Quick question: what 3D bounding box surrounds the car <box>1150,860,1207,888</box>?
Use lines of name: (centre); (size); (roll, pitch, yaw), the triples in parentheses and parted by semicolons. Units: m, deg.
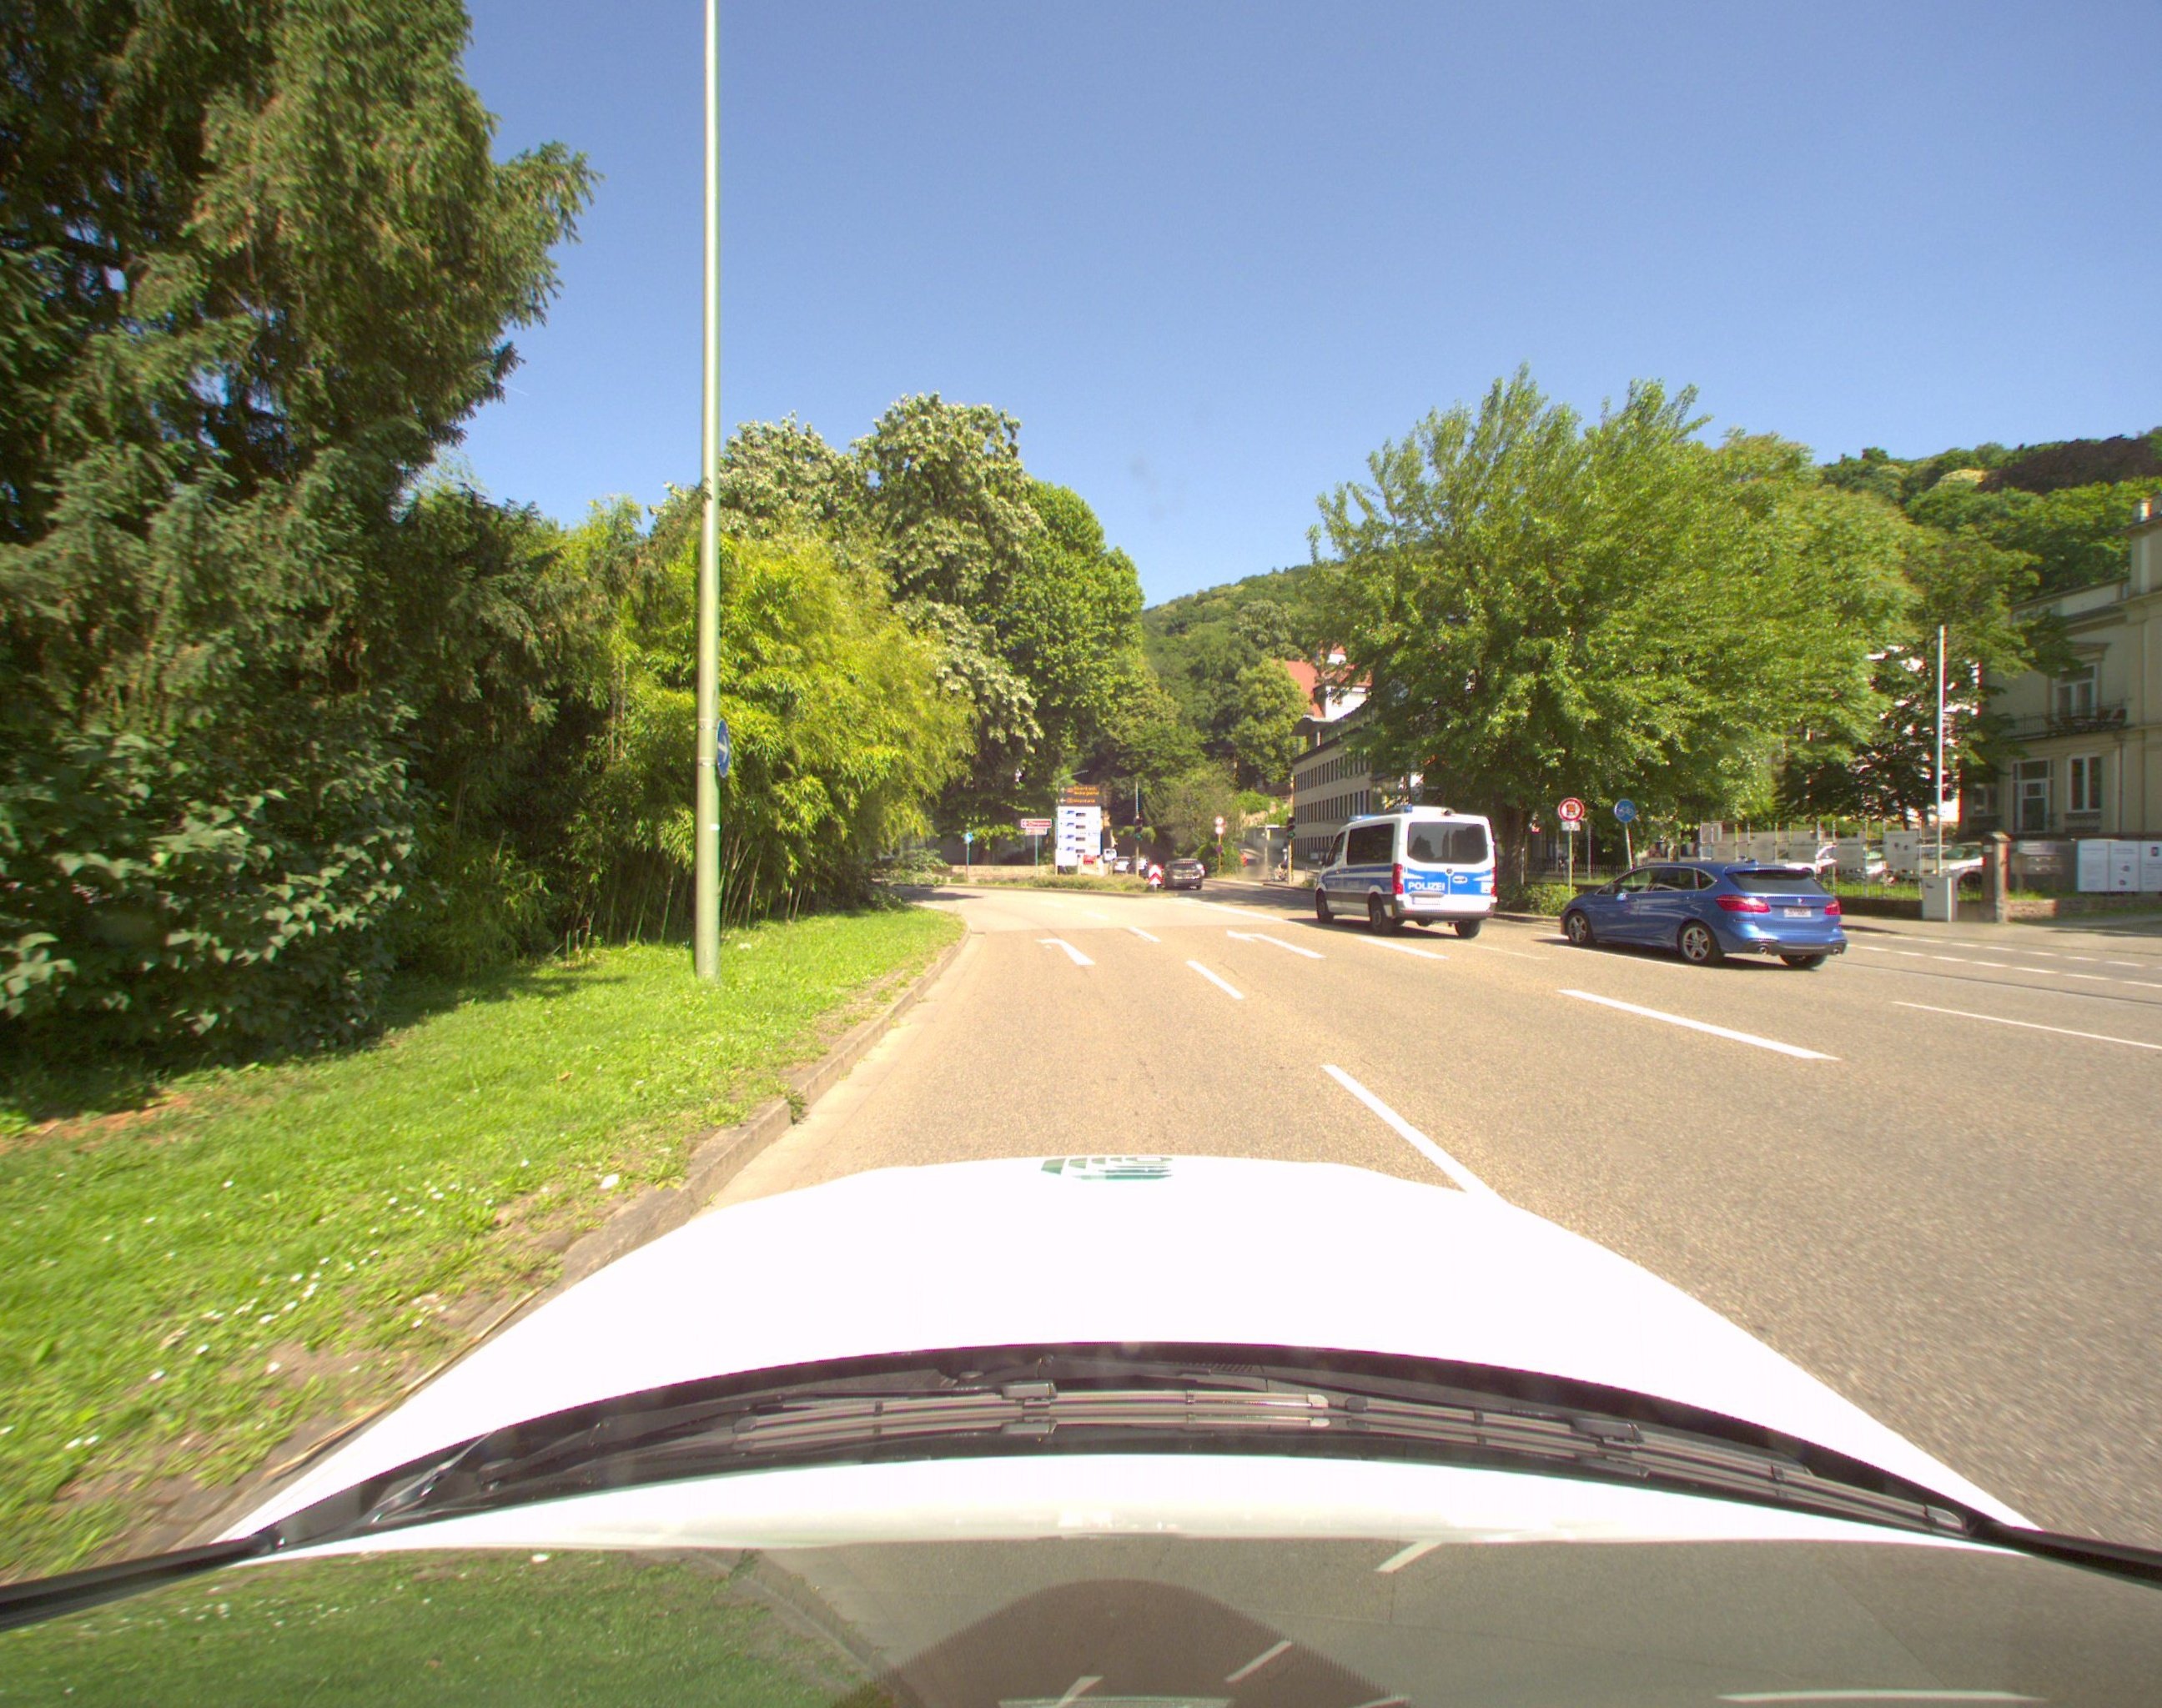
car: (4.803, 0.962, 40.654); (1.757, 1.334, 3.787); (0, 0, -11)

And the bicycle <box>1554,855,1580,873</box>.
bicycle: (29.871, 0.630, 50.074); (0.535, 1.085, 1.835); (-1, 0, 1)

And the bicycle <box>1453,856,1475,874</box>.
bicycle: (23.669, 0.690, 50.410); (0.535, 1.085, 1.835); (-1, 0, 1)

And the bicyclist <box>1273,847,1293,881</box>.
bicyclist: (11.733, 0.571, 47.379); (1.118, 1.932, 0.750); (0, -1, 12)

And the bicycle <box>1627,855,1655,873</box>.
bicycle: (34.691, 0.591, 50.479); (0.535, 1.085, 1.835); (-1, 0, 1)

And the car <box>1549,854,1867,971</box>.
car: (9.766, 0.795, 13.204); (1.715, 1.541, 4.267); (1, 0, -3)

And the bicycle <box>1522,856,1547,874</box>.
bicycle: (27.955, 0.649, 50.188); (0.535, 1.085, 1.835); (-1, 0, 1)

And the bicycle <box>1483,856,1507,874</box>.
bicycle: (25.555, 0.672, 50.305); (0.535, 1.085, 1.835); (-1, 0, 1)

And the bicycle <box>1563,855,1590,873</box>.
bicycle: (30.463, 0.625, 50.110); (0.535, 1.085, 1.835); (-1, 0, 1)

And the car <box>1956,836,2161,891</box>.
car: (25.646, 0.235, 21.088); (4.031, 1.336, 1.989); (0, 0, -3)

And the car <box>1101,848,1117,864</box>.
car: (3.511, 0.247, 102.604); (1.751, 1.938, 3.492); (0, 0, -1)

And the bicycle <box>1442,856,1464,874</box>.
bicycle: (23.027, 0.696, 50.423); (0.535, 1.085, 1.835); (-1, 0, 1)

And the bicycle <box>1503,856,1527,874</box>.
bicycle: (26.797, 0.661, 50.337); (0.535, 1.085, 1.835); (-1, 0, 1)

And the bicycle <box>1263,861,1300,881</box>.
bicycle: (11.673, 0.977, 47.390); (2.063, 1.112, 0.759); (0, 0, 11)

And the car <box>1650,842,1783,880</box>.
car: (25.600, 0.274, 32.882); (4.137, 1.476, 1.874); (0, 0, -6)

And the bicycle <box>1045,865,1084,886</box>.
bicycle: (-0.952, 1.183, 45.729); (2.058, 1.112, 0.761); (0, 0, 24)

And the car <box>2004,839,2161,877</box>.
car: (36.602, 0.136, 29.668); (4.067, 1.336, 1.819); (0, 0, -4)

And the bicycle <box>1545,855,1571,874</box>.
bicycle: (29.268, 0.635, 50.004); (0.535, 1.085, 1.835); (-1, 0, 1)

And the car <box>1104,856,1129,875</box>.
car: (2.792, 0.913, 64.533); (1.751, 1.461, 3.644); (0, 0, -1)

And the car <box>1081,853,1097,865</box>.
car: (0.934, 0.566, 96.877); (1.751, 1.461, 3.492); (0, 0, -1)

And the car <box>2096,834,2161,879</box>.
car: (36.428, 0.072, 26.798); (4.040, 1.419, 1.819); (0, 0, -4)

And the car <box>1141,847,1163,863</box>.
car: (6.686, 0.063, 77.128); (1.751, 1.461, 3.644); (0, 0, -1)

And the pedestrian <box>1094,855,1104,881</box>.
pedestrian: (1.133, 0.909, 51.466); (0.543, 1.621, 0.636); (-1, 0, 8)

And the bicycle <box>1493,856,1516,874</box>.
bicycle: (26.152, 0.666, 50.323); (0.535, 1.085, 1.835); (-1, 0, 1)

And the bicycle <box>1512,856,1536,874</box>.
bicycle: (27.376, 0.656, 50.382); (0.535, 1.085, 1.835); (-1, 0, 1)

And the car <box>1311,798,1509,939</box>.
car: (6.595, 0.279, 17.029); (2.067, 2.508, 4.926); (1, -1, -1)

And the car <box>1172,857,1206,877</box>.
car: (7.116, 0.839, 53.928); (1.751, 1.213, 3.492); (0, 0, -1)

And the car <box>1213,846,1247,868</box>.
car: (11.875, 0.270, 65.256); (1.925, 1.697, 3.998); (0, -1, -1)

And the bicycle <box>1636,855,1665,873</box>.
bicycle: (35.260, 0.585, 50.462); (0.535, 1.085, 1.835); (-1, 0, 1)

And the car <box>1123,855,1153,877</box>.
car: (3.850, 0.778, 55.165); (1.751, 1.461, 3.492); (0, 0, -1)

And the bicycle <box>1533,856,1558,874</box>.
bicycle: (28.601, 0.643, 50.194); (0.535, 1.085, 1.835); (-1, 0, 1)

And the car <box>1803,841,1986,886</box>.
car: (25.427, 0.278, 25.545); (4.076, 1.336, 1.819); (0, 0, -4)

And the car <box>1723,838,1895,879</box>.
car: (25.030, 0.157, 28.093); (4.456, 1.336, 1.819); (0, 0, -4)

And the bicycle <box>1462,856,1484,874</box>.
bicycle: (24.263, 0.684, 50.412); (0.535, 1.085, 1.835); (-1, 0, 1)

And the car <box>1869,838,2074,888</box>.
car: (25.480, 0.241, 23.393); (4.031, 1.336, 1.858); (0, 0, -4)

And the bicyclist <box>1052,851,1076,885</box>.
bicyclist: (-0.944, 0.776, 45.723); (1.116, 1.932, 0.752); (0, -1, 24)
